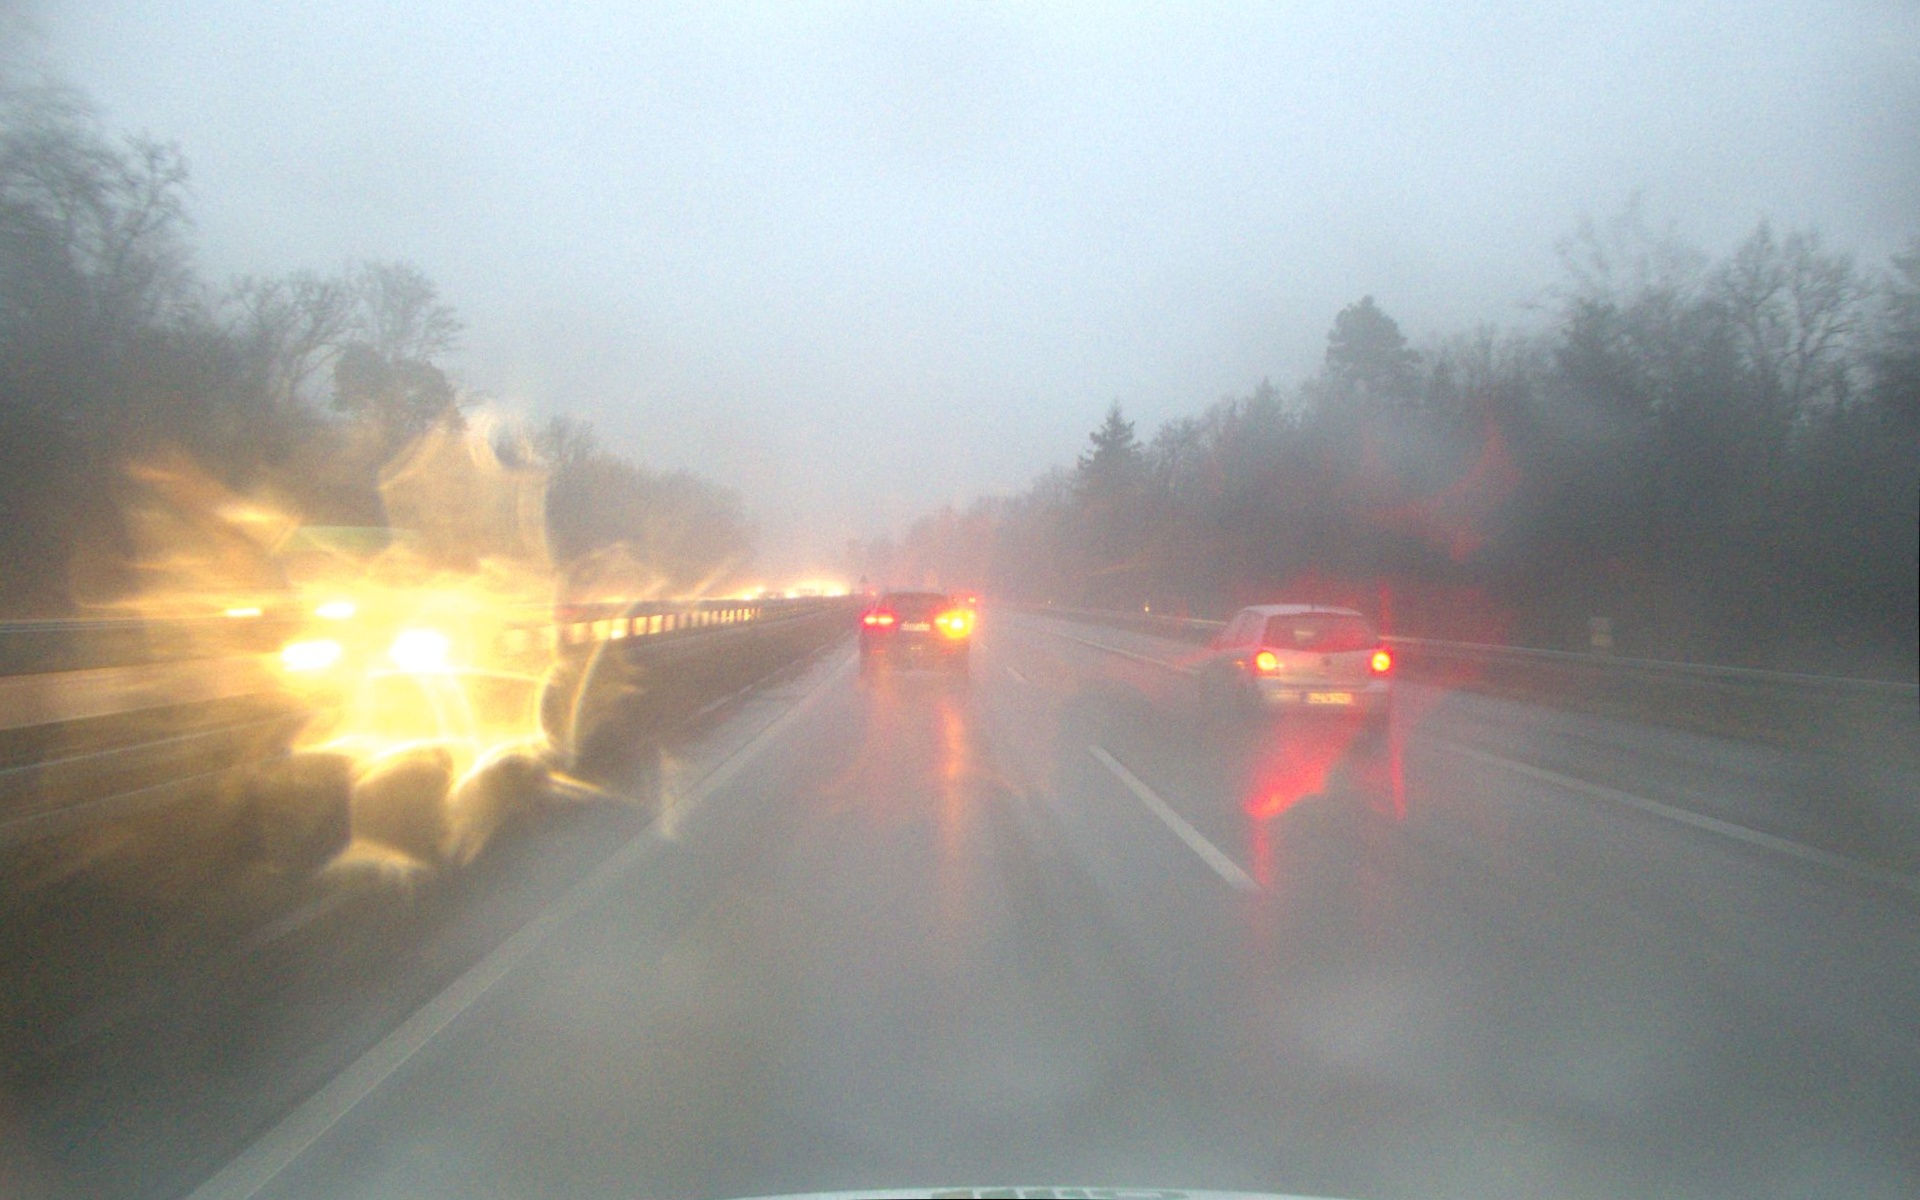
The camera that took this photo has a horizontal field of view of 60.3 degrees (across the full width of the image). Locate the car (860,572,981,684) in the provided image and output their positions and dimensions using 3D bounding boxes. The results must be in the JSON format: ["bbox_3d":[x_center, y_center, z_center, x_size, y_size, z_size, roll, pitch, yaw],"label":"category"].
[{"bbox_3d":[-0.734,0.448,28.987,1.946,1.798,4.171,1,0,-3],"label":"car"}]

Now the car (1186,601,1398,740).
[{"bbox_3d":[3.821,0.756,19.584,1.744,1.462,3.536,1,0,-1],"label":"car"}]

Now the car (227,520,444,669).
[{"bbox_3d":[-12.075,-0.111,32.534,1.962,2.613,6.374,0,0,-1],"label":"car"}]
